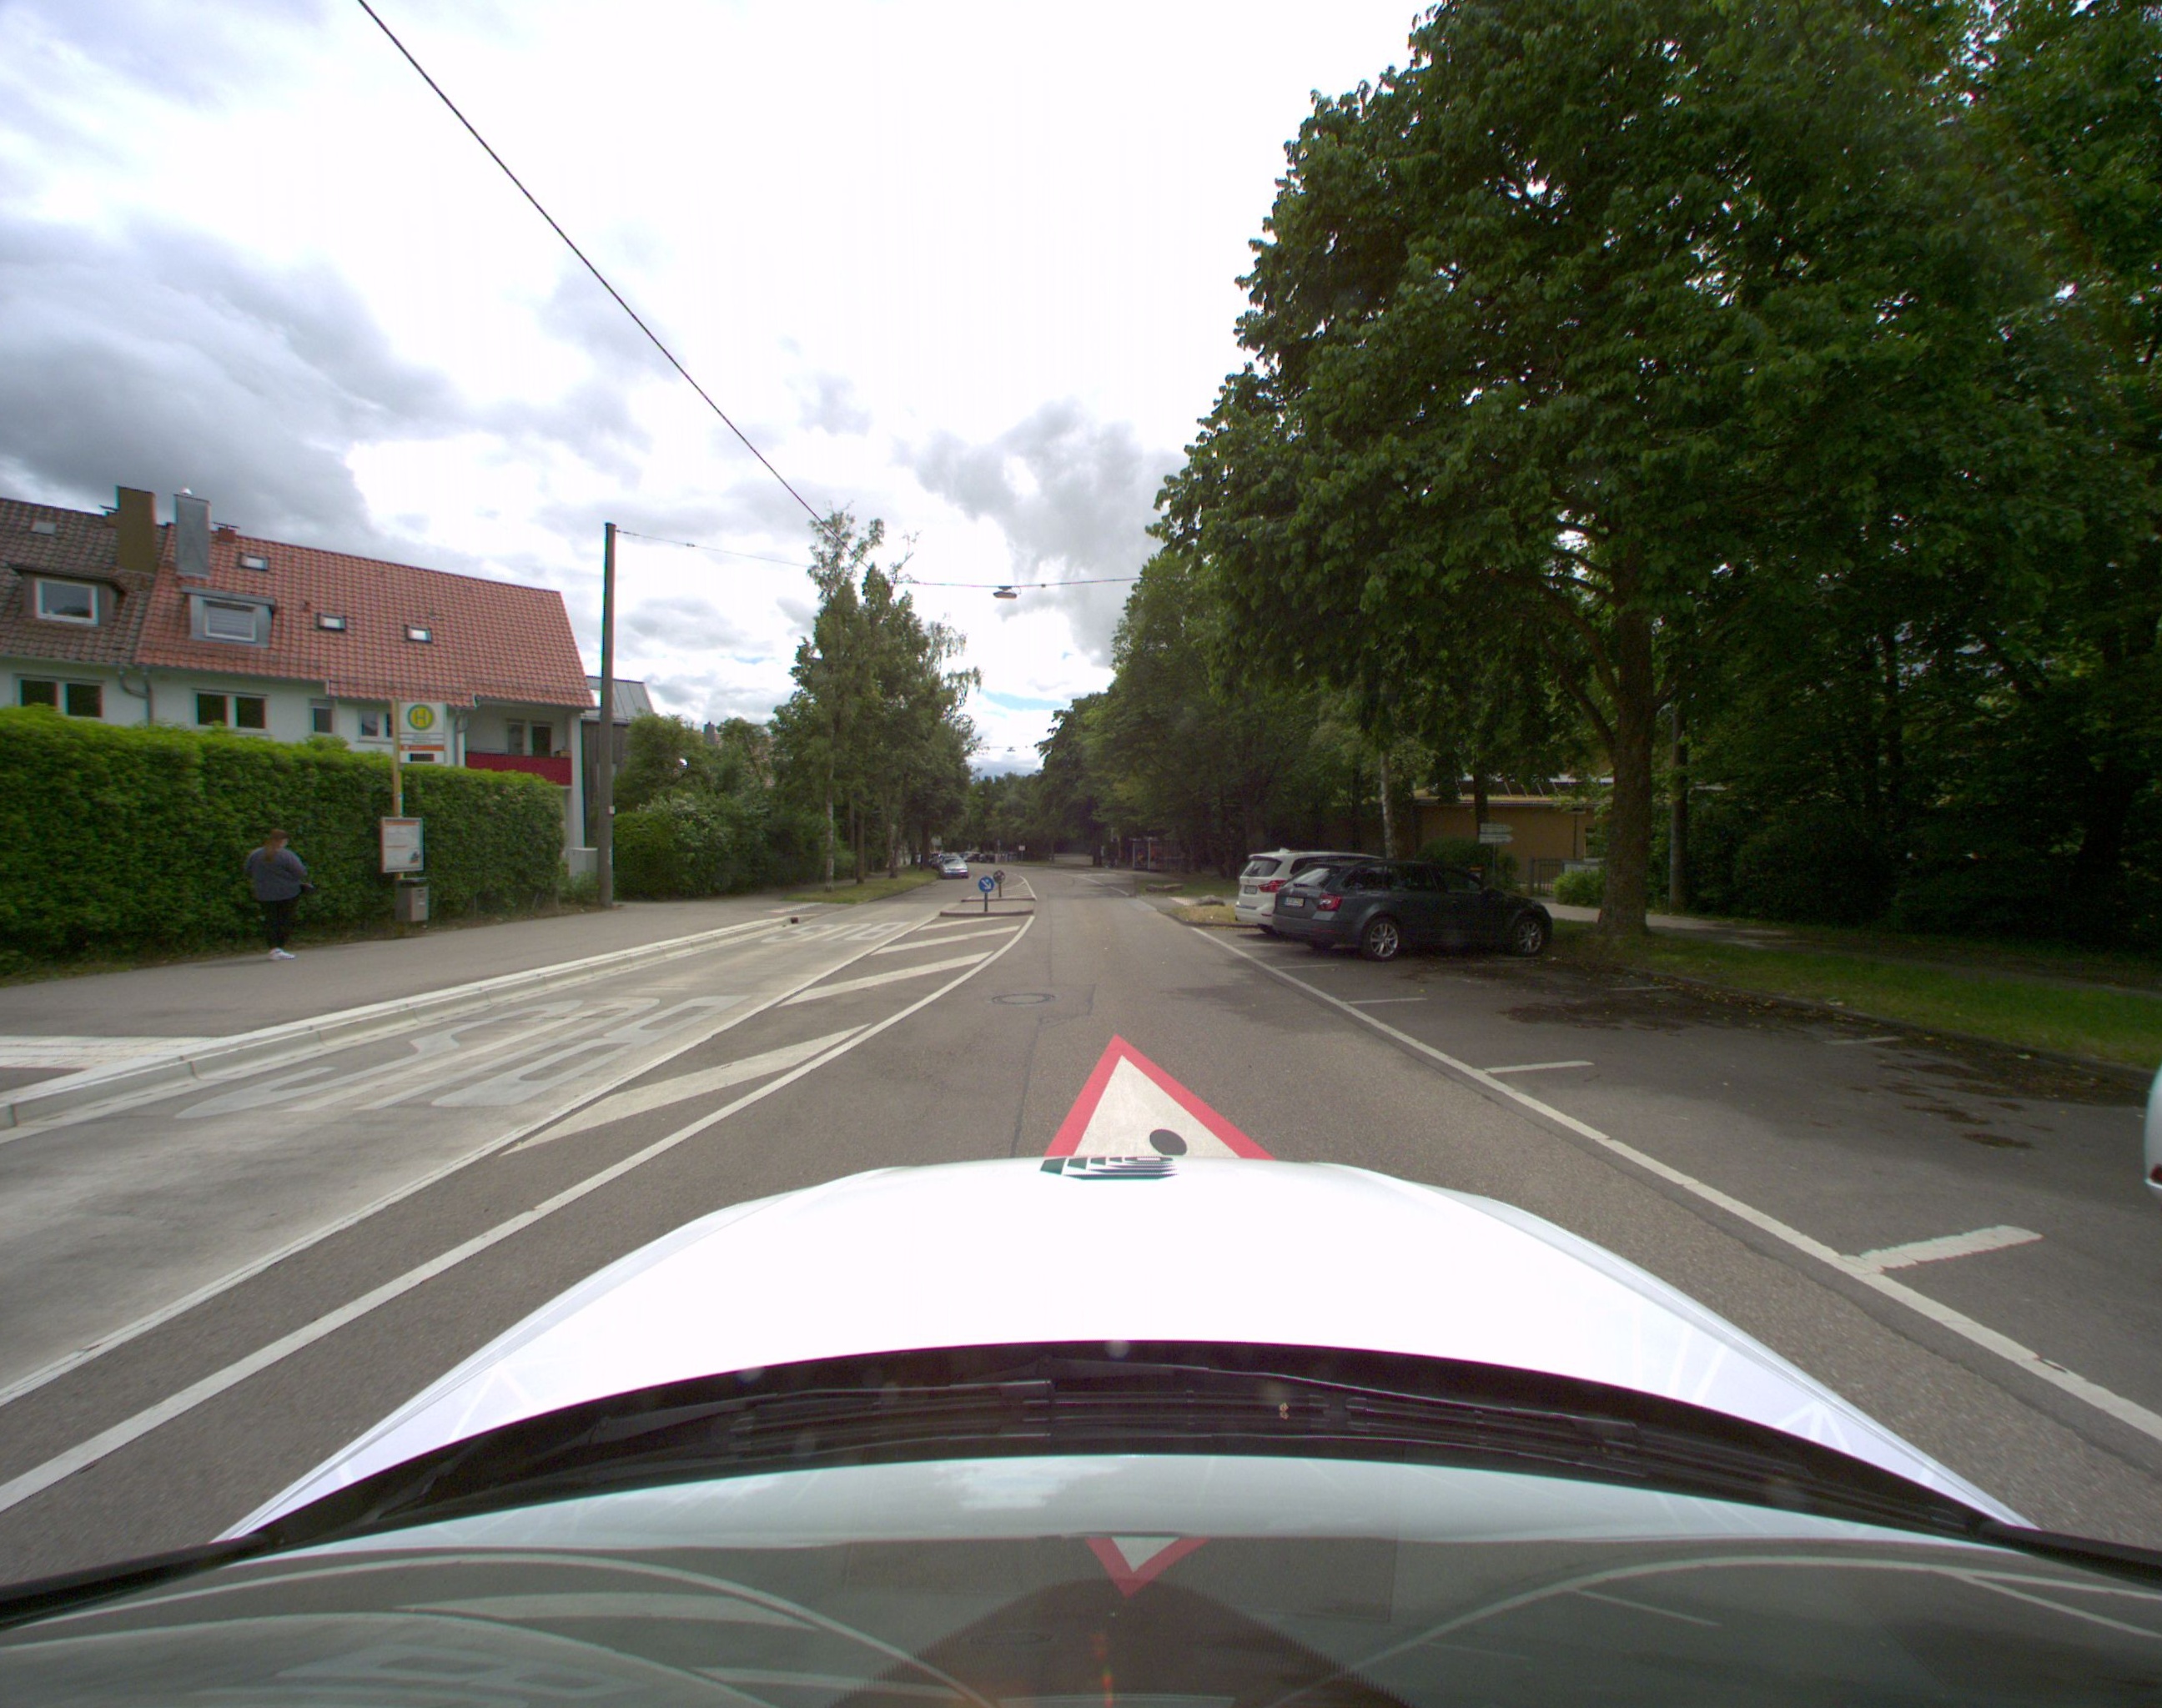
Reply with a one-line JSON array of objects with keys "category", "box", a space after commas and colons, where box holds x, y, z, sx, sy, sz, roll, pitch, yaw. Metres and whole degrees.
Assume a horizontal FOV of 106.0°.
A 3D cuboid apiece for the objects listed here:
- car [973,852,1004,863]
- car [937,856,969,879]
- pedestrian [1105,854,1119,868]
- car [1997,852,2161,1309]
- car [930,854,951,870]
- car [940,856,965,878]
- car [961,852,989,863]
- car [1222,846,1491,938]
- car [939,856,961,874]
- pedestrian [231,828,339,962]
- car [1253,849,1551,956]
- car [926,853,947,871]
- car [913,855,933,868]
[{"category": "car", "box": [-13.383, 0.503, 117.576, 4.020, 1.414, 2.033, 3, 0, -41]}, {"category": "car", "box": [-8.770, 0.872, 55.446, 1.738, 1.416, 4.451, -2, 0, -14]}, {"category": "pedestrian", "box": [2.665, 0.571, 70.345, 1.065, 1.182, 0.577, -1, 0, -13]}, {"category": "car", "box": [5.528, 0.756, 2.616, 3.993, 1.464, 1.857, 1, -1, -15]}, {"category": "car", "box": [-14.511, 0.781, 84.037, 1.868, 1.538, 4.207, -1, 0, -14]}, {"category": "car", "box": [-9.652, 0.929, 61.504, 1.734, 1.538, 4.178, -2, 0, -8]}, {"category": "car", "box": [-16.564, 0.570, 127.495, 3.851, 1.720, 1.856, 3, -2, -41]}, {"category": "car", "box": [5.117, 0.692, 15.366, 4.470, 1.585, 1.900, 1, -1, -11]}, {"category": "car", "box": [-11.760, 0.953, 72.912, 1.736, 1.578, 4.126, -2, 0, -11]}, {"category": "pedestrian", "box": [-10.614, 0.524, 10.889, 0.691, 1.711, 0.776, 0, 0, -8]}, {"category": "car", "box": [4.956, 0.704, 12.673, 4.143, 1.464, 1.788, 1, -1, -18]}, {"category": "car", "box": [-16.696, 0.893, 93.804, 1.861, 1.909, 5.056, -1, 0, -16]}, {"category": "car", "box": [-21.242, 0.987, 109.387, 1.811, 1.563, 4.238, -4, 1, -20]}]
